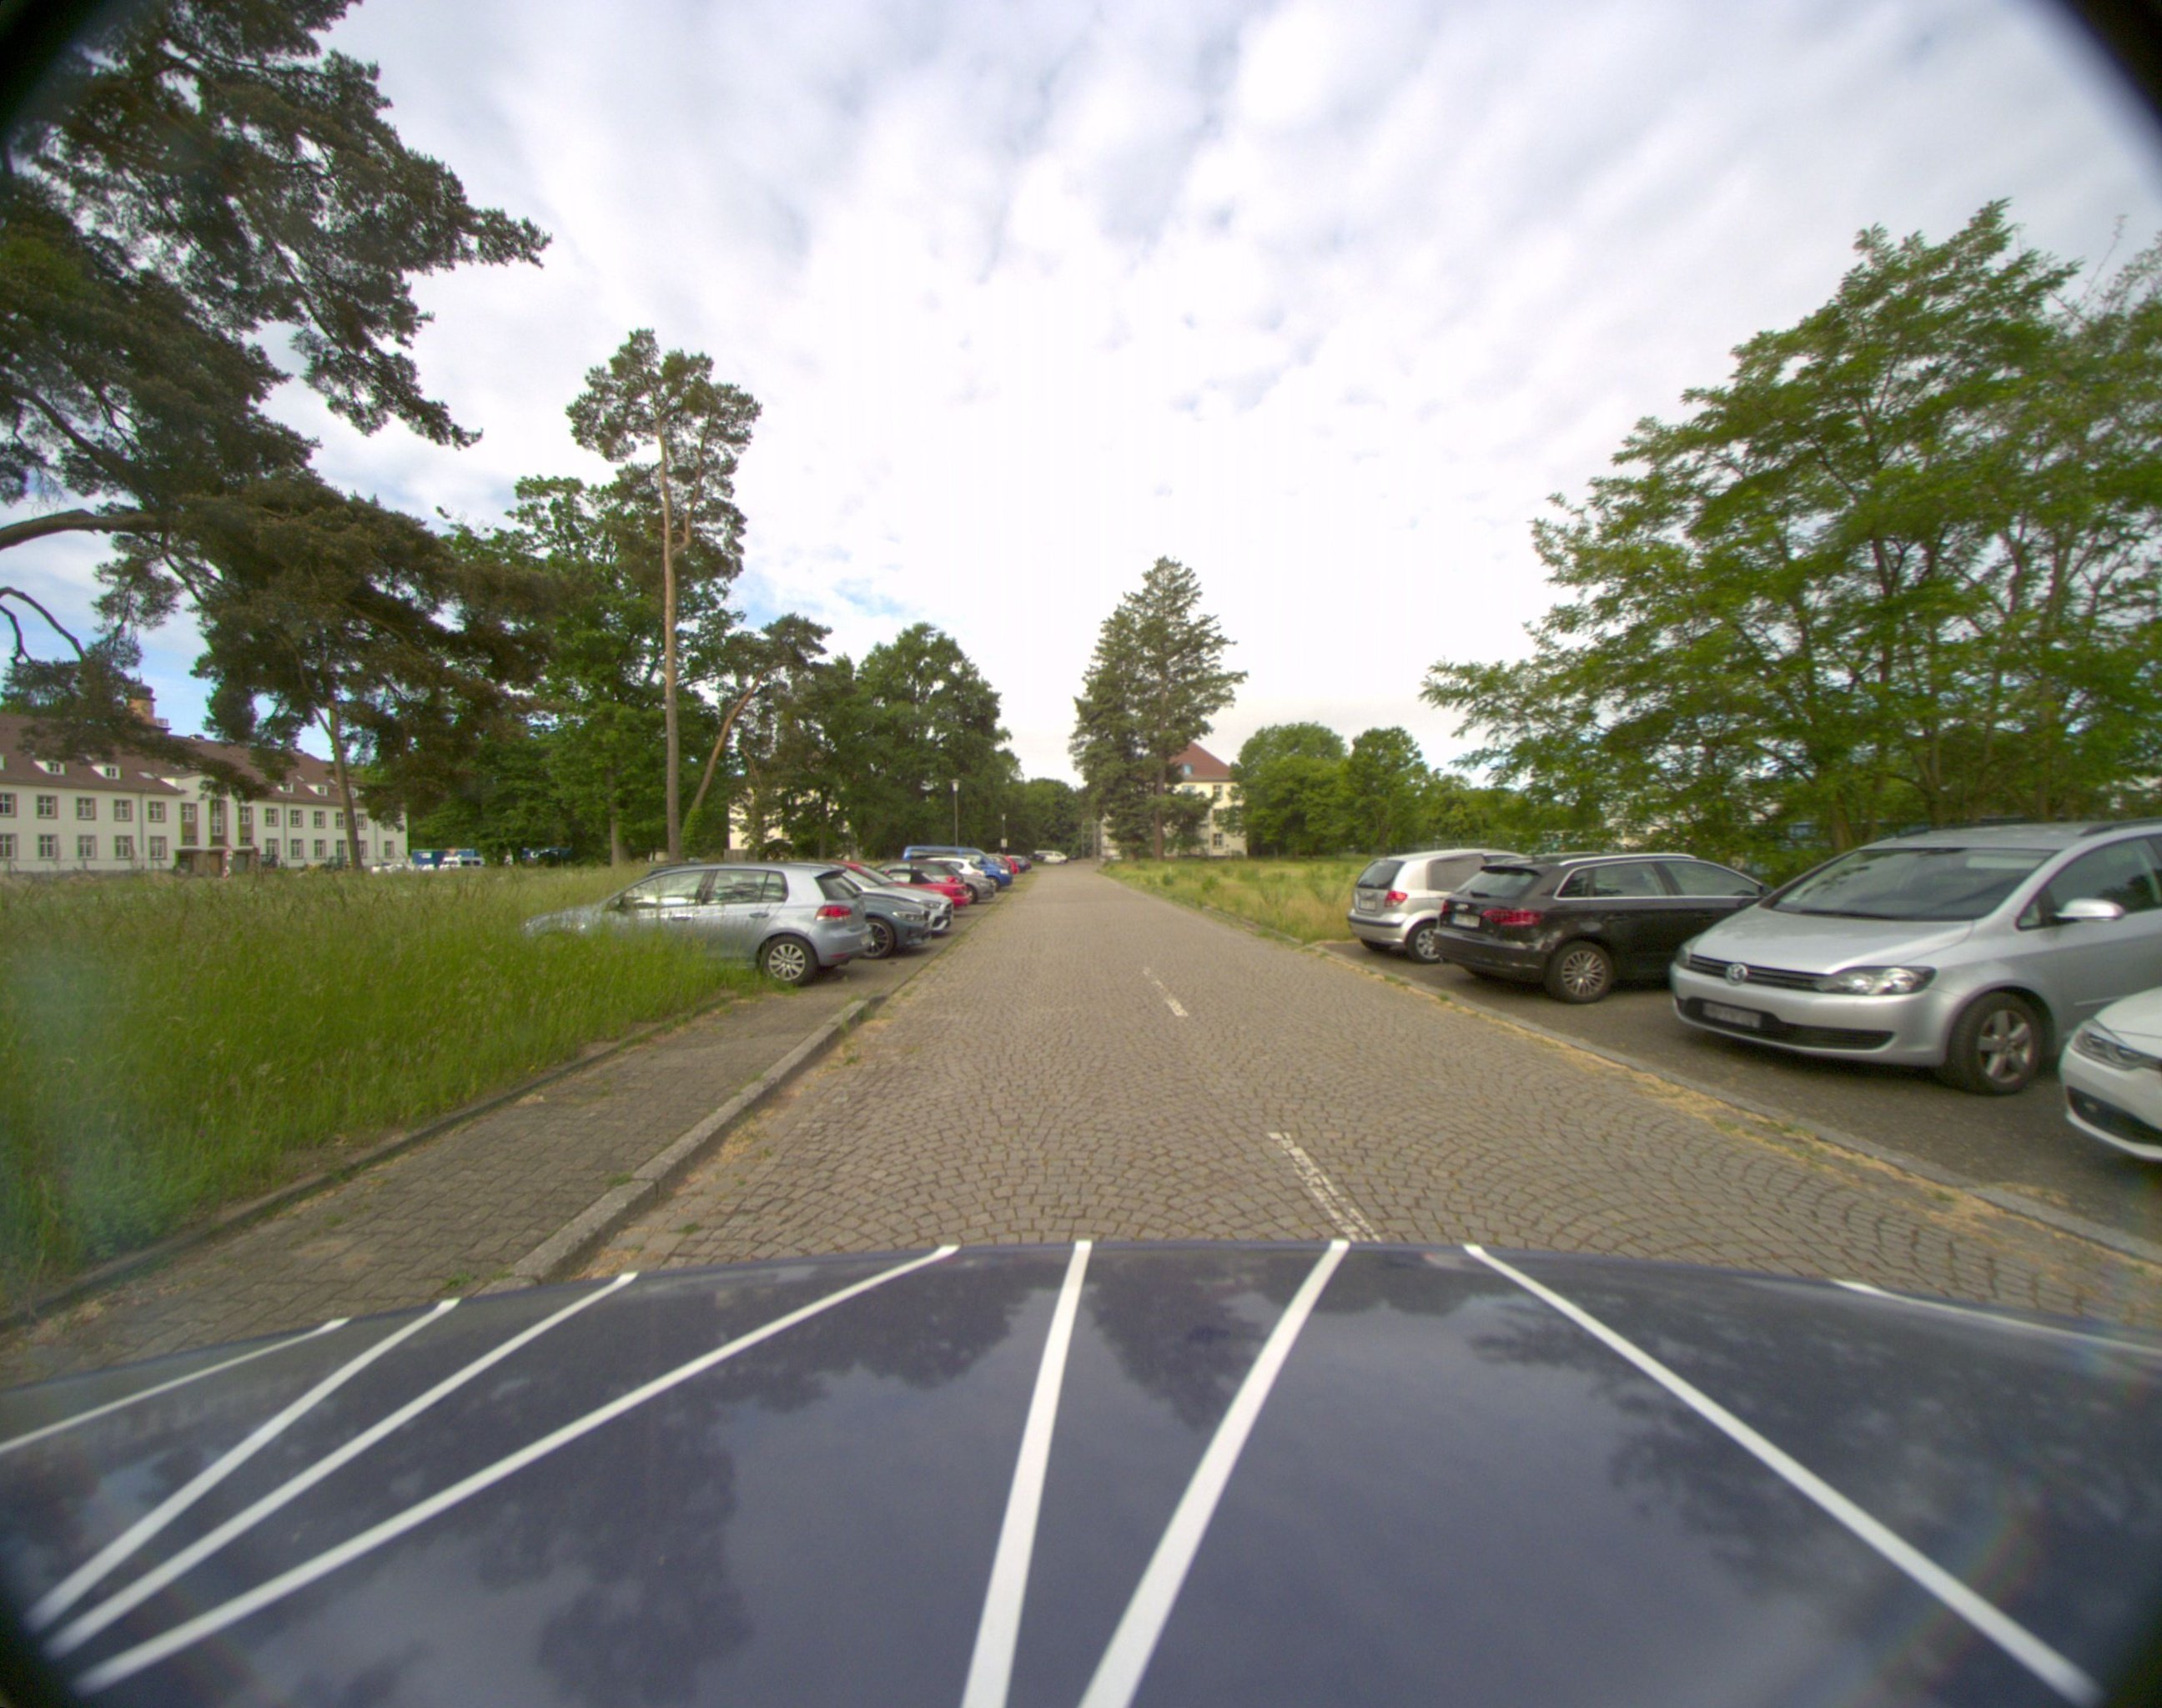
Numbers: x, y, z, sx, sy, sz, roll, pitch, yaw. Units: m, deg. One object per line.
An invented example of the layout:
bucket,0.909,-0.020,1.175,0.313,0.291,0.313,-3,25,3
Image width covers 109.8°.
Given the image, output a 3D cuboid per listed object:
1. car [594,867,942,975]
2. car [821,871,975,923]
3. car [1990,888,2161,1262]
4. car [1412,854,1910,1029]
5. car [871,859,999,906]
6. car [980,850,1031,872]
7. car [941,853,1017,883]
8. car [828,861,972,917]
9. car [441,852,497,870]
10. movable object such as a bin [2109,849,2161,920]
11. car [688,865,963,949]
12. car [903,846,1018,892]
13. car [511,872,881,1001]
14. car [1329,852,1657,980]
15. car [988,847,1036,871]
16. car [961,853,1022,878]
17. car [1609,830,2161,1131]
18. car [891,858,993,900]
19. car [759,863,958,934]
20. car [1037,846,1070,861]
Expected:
car,-4.733,0.994,12.094,4.771,1.474,1.761,-1,1,-5
car,-4.628,1.079,19.529,3.600,1.200,1.494,-1,0,-1
car,6.684,0.813,2.887,4.661,1.435,1.801,-3,1,-5
car,5.934,0.823,8.099,3.998,1.419,1.750,-3,1,-3
car,-4.738,0.926,25.086,3.849,1.448,1.820,-1,1,1
car,-6.196,0.574,62.819,4.008,1.752,2.000,-1,1,0
car,-5.631,0.765,42.252,3.997,1.601,1.999,-1,1,-1
car,-5.188,0.976,22.184,3.787,1.497,1.798,-1,1,-4
car,-70.651,0.781,87.888,2.153,2.002,5.224,-1,1,1
movable object such as a bin,18.985,0.497,12.359,2.397,1.154,1.500,-1,1,4
car,-4.843,0.986,14.931,4.770,1.474,1.812,-1,1,-2
car,-5.188,0.635,33.320,4.750,1.928,1.999,0,1,-2
car,-4.585,0.973,9.473,3.773,1.418,1.605,1,0,-2
car,5.733,0.796,10.843,3.689,1.444,1.807,-3,1,-6
car,-6.075,0.446,67.219,3.997,2.002,2.000,-1,1,0
car,-6.144,0.777,52.571,3.997,1.521,1.999,-2,1,-1
car,6.281,0.694,5.371,3.999,1.538,1.723,-3,1,-6
car,-5.047,0.909,27.901,3.409,1.444,1.637,-1,1,-1
car,-4.918,0.962,17.216,3.972,1.444,1.799,-1,1,-2
car,-4.167,-0.029,116.157,5.031,2.164,2.000,-1,1,0
